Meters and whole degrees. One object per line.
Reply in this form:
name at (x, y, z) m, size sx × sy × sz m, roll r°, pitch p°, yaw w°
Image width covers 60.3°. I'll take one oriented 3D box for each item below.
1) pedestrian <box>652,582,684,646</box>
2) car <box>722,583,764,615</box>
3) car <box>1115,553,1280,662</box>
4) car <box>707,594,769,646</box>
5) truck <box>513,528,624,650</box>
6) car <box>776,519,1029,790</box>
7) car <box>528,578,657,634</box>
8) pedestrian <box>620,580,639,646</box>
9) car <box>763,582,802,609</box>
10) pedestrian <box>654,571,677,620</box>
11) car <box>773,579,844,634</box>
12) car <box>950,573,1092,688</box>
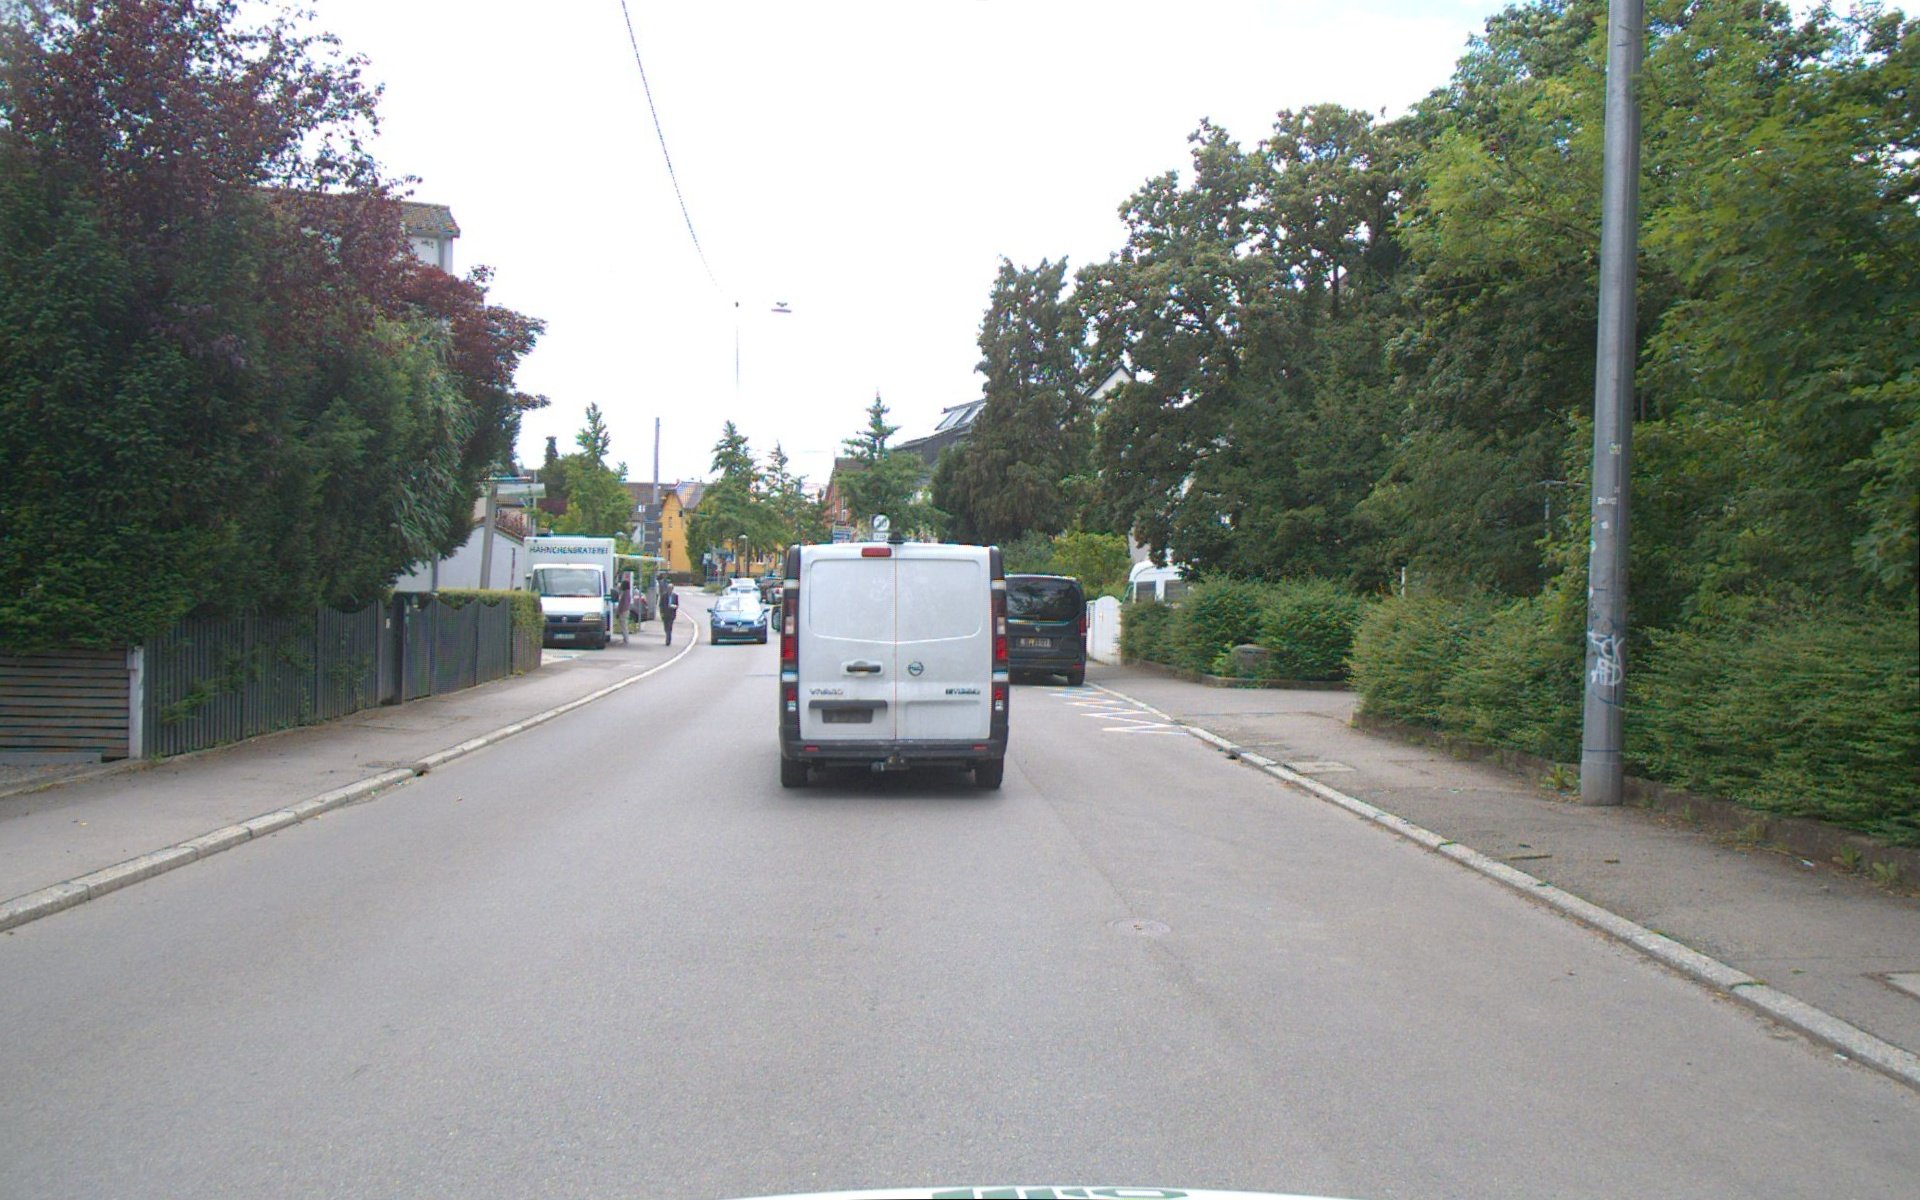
pedestrian at (-8.199, 0.391, 46.509) m, size 0.709 × 1.716 × 1.108 m, roll 3°, pitch -1°, yaw -6°
car at (-12.368, -0.066, 94.201) m, size 1.960 × 1.813 × 3.986 m, roll 0°, pitch 0°, yaw -14°
car at (6.511, 0.181, 46.045) m, size 2.458 × 2.728 × 5.161 m, roll 4°, pitch 0°, yaw -17°
car at (-6.808, 0.605, 51.024) m, size 1.661 × 1.457 × 3.923 m, roll 3°, pitch 0°, yaw -5°
truck at (-10.132, -0.276, 43.296) m, size 2.428 × 2.890 × 6.690 m, roll 2°, pitch 0°, yaw -11°
car at (-0.672, 0.421, 14.731) m, size 1.879 × 2.038 × 4.431 m, roll 1°, pitch 0°, yaw -7°
car at (-13.225, 0.204, 59.483) m, size 4.249 × 1.725 × 1.787 m, roll 4°, pitch -1°, yaw -21°
pedestrian at (-8.764, 0.345, 43.907) m, size 0.394 × 1.724 × 0.596 m, roll 3°, pitch -1°, yaw -11°
car at (-10.928, -0.292, 101.653) m, size 1.714 × 1.520 × 3.638 m, roll 4°, pitch 0°, yaw -17°
pedestrian at (-12.278, -0.173, 68.907) m, size 0.719 × 1.979 × 1.216 m, roll 3°, pitch -1°, yaw -6°
car at (-5.503, 0.211, 59.550) m, size 1.960 × 1.880 × 3.986 m, roll 1°, pitch 0°, yaw -14°
car at (1.015, 0.516, 30.306) m, size 1.872 × 1.880 × 5.151 m, roll 2°, pitch 0°, yaw -6°
